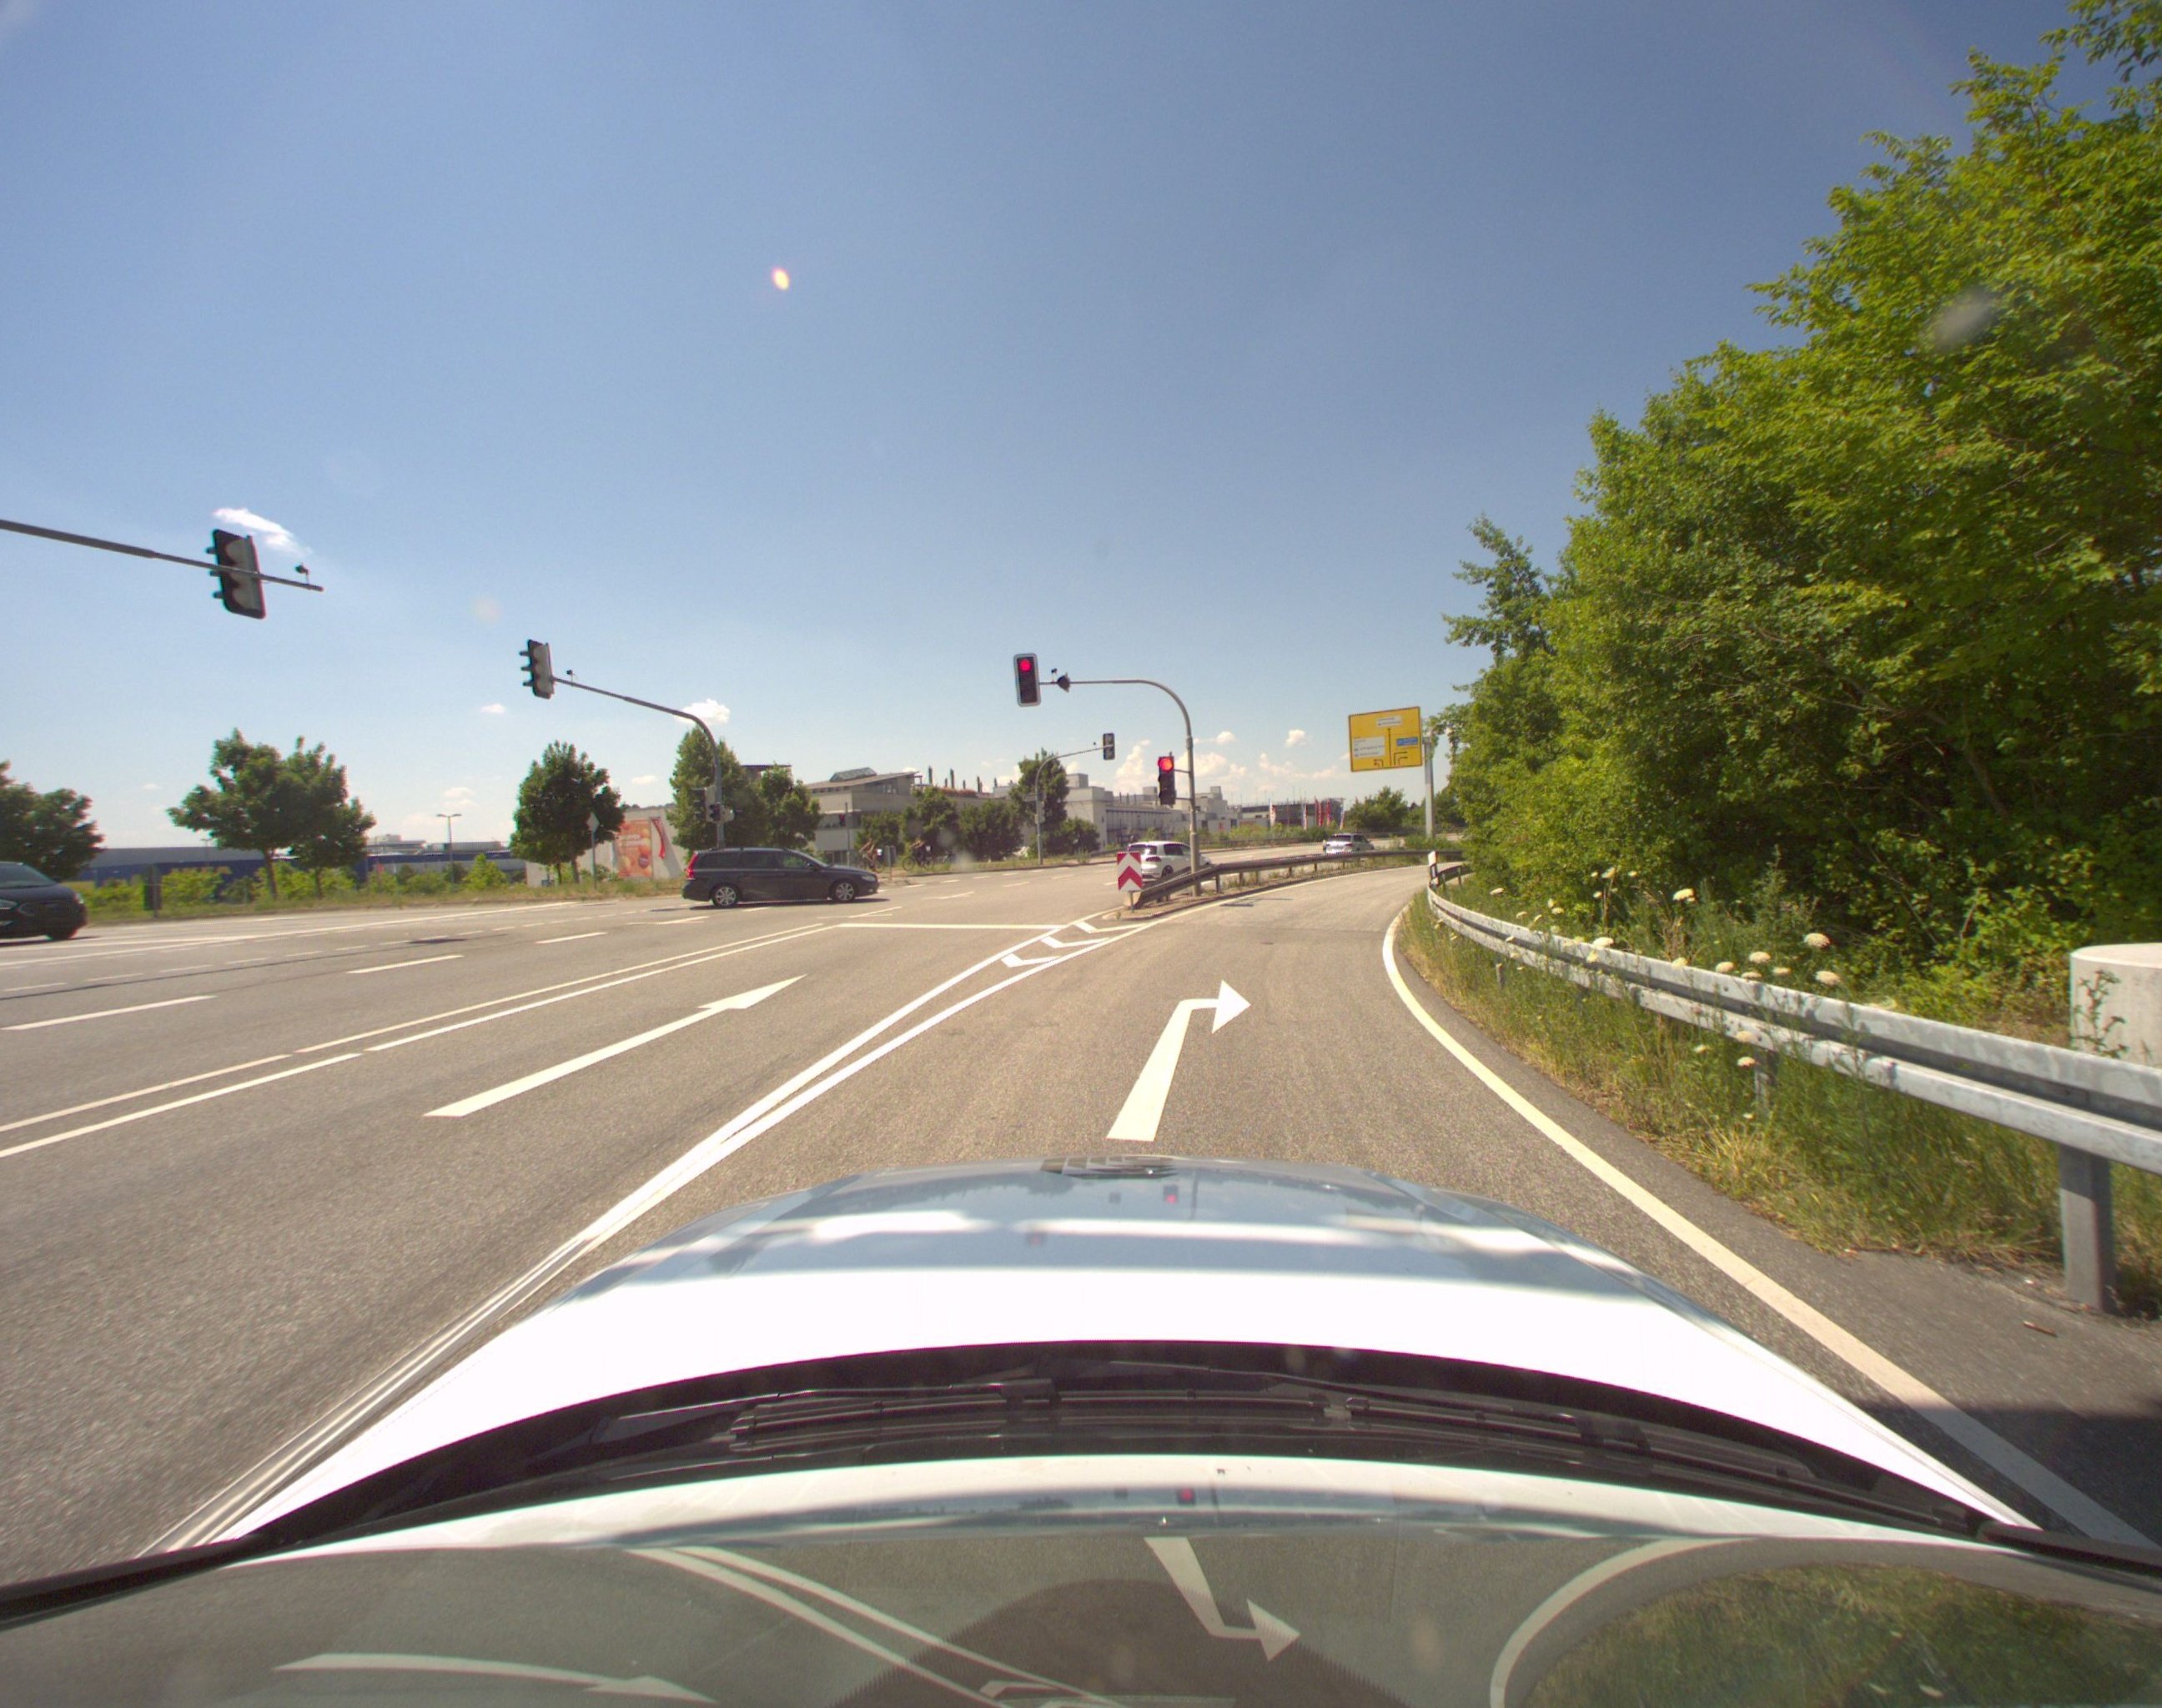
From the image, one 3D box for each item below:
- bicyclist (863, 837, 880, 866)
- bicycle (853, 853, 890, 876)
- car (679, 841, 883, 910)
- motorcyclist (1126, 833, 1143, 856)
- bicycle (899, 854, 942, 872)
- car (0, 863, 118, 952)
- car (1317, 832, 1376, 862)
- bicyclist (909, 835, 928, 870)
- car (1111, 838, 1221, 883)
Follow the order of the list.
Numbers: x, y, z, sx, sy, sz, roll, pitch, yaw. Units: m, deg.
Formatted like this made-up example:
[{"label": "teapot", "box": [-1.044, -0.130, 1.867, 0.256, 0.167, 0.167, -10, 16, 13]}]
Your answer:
[{"label": "bicyclist", "box": [-10.037, -0.127, 38.988, 0.403, 1.404, 0.689, 0, 1, 40]}, {"label": "bicycle", "box": [-10.023, 0.473, 39.004, 0.410, 1.024, 1.844, 1, 2, 39]}, {"label": "car", "box": [-7.679, 0.498, 21.064, 4.739, 1.545, 1.723, -2, 0, -23]}, {"label": "motorcyclist", "box": [3.174, -0.577, 48.065, 0.668, 1.303, 0.728, -4, 0, 27]}, {"label": "bicycle", "box": [-7.952, 0.430, 40.500, 2.139, 0.852, 0.528, -2, 2, -45]}, {"label": "car", "box": [-26.270, 1.348, 18.765, 5.379, 1.937, 2.124, -4, -1, -2]}, {"label": "car", "box": [15.327, -0.436, 46.954, 1.974, 1.505, 4.425, -4, 0, 35]}, {"label": "bicyclist", "box": [-8.073, -0.067, 40.383, 0.735, 1.717, 0.525, -1, 2, -44]}, {"label": "car", "box": [3.168, 0.205, 29.831, 1.974, 1.486, 4.161, 0, 1, 41]}]
